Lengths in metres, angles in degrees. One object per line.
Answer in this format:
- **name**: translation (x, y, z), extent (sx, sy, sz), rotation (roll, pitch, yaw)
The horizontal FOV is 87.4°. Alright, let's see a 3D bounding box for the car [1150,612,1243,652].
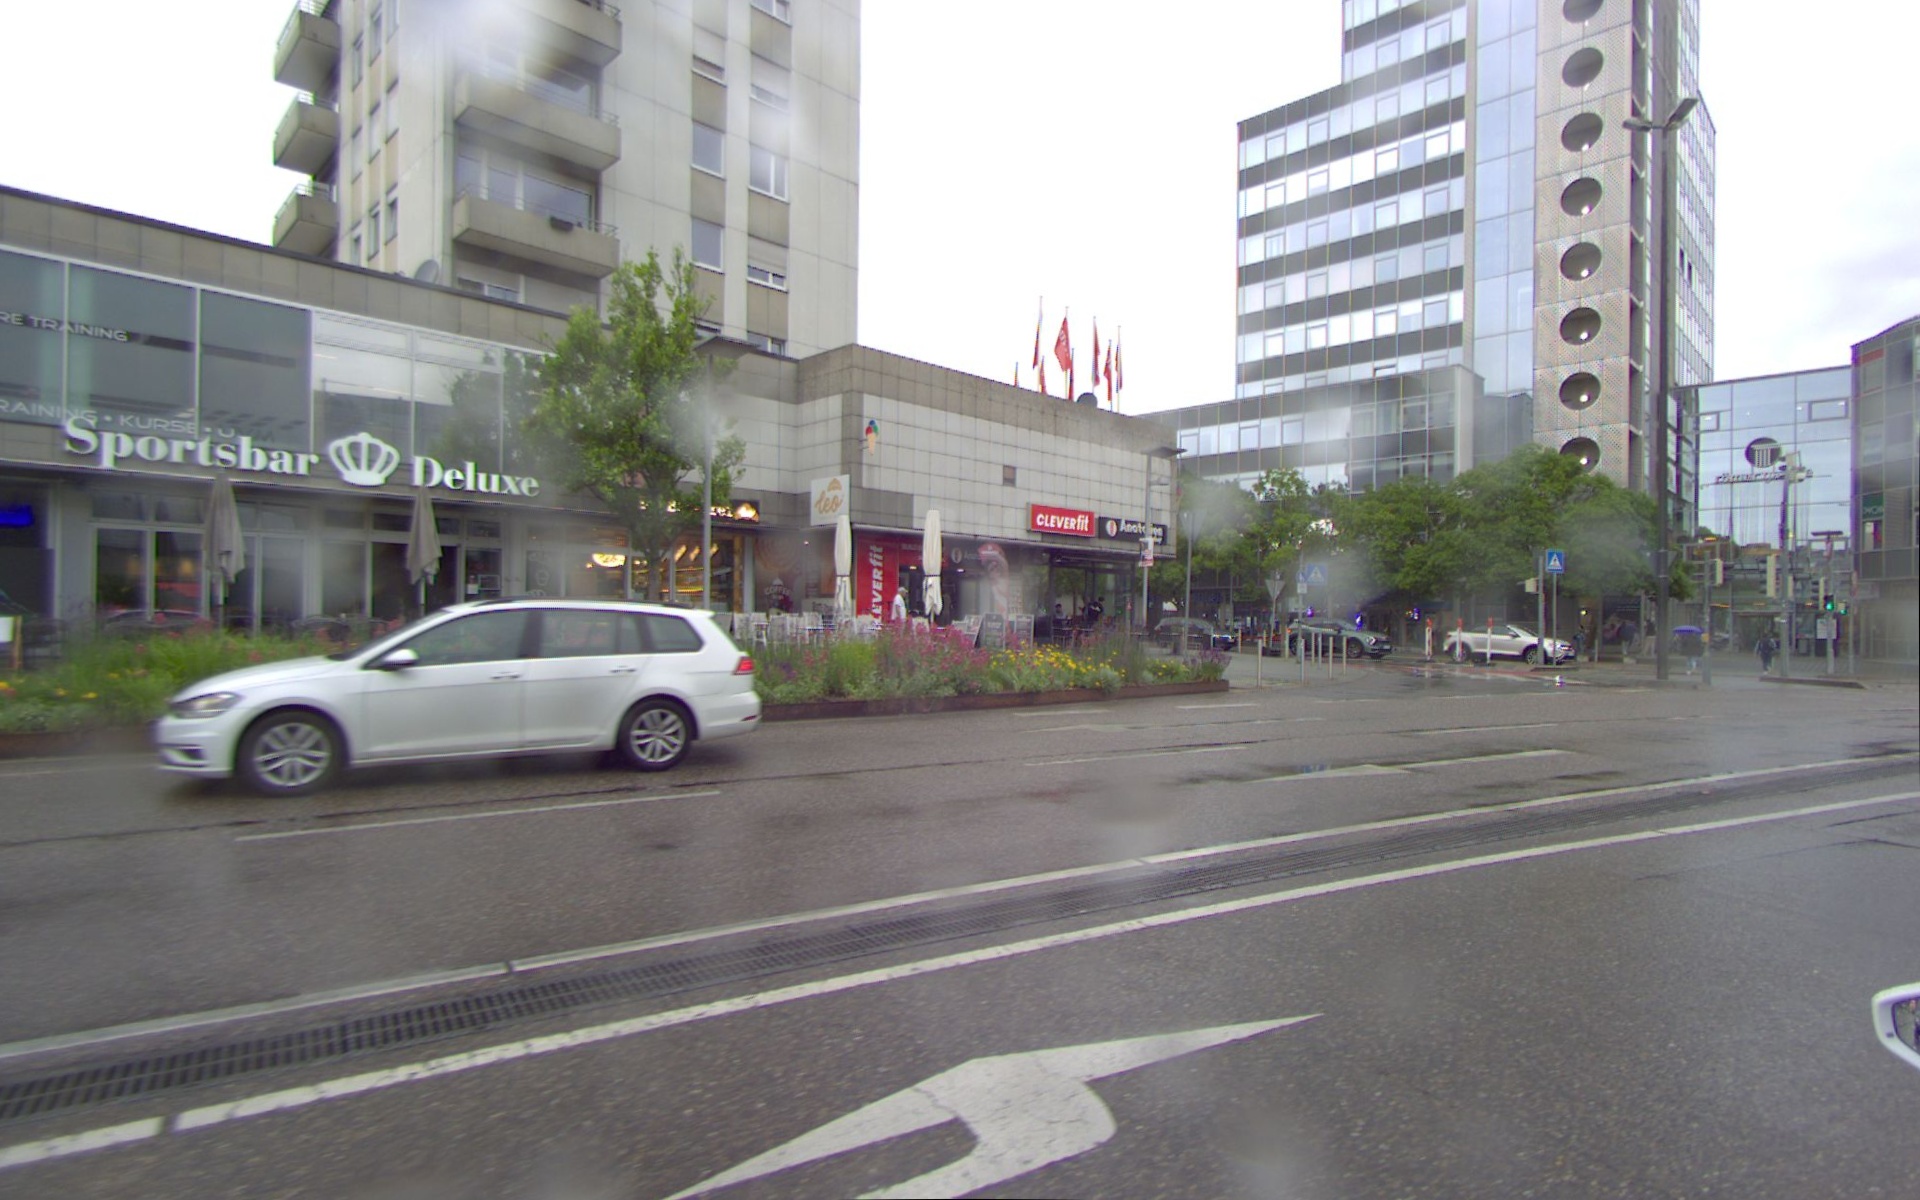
- **car**: translation (11.119, 1.464, 47.398), extent (1.854, 1.617, 3.955), rotation (0, 2, -38)

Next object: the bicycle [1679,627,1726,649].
- **bicycle**: translation (45.257, 2.316, 61.237), extent (2.249, 1.263, 0.673), rotation (0, -1, 44)

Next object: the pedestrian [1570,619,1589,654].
- **pedestrian**: translation (34.450, 2.013, 55.874), extent (0.738, 1.893, 0.834), rotation (1, -1, 18)

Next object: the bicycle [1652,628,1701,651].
- **bicycle**: translation (41.548, 2.287, 58.270), extent (2.249, 1.263, 0.673), rotation (0, -1, 44)

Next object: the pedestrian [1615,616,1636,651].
- **pedestrian**: translation (36.471, 1.840, 55.019), extent (0.822, 1.893, 0.749), rotation (0, -1, 44)

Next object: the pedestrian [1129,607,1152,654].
- **pedestrian**: translation (5.304, 0.901, 29.512), extent (0.527, 1.365, 0.496), rotation (1, 0, -9)

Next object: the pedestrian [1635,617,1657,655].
- **pedestrian**: translation (36.984, 1.944, 54.130), extent (0.756, 2.040, 0.708), rotation (1, 0, -32)

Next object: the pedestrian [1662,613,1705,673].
- **pedestrian**: translation (25.400, 1.491, 35.262), extent (1.147, 2.040, 1.323), rotation (1, 0, 38)

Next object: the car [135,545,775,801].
- **car**: translation (-4.055, 0.526, 8.662), extent (4.454, 1.705, 1.876), rotation (2, 0, -31)

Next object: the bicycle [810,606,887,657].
- **bicycle**: translation (-2.920, 0.792, 26.052), extent (0.691, 1.239, 2.523), rotation (1, 0, -41)

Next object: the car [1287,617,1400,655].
- **car**: translation (15.872, 1.459, 41.692), extent (1.854, 1.439, 4.014), rotation (1, 0, -38)

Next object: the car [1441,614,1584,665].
- **car**: translation (19.920, 1.383, 36.356), extent (1.855, 1.616, 4.156), rotation (1, 0, -40)

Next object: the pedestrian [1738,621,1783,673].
- **pedestrian**: translation (29.069, 1.707, 36.463), extent (1.007, 1.843, 0.846), rotation (1, -1, -14)
